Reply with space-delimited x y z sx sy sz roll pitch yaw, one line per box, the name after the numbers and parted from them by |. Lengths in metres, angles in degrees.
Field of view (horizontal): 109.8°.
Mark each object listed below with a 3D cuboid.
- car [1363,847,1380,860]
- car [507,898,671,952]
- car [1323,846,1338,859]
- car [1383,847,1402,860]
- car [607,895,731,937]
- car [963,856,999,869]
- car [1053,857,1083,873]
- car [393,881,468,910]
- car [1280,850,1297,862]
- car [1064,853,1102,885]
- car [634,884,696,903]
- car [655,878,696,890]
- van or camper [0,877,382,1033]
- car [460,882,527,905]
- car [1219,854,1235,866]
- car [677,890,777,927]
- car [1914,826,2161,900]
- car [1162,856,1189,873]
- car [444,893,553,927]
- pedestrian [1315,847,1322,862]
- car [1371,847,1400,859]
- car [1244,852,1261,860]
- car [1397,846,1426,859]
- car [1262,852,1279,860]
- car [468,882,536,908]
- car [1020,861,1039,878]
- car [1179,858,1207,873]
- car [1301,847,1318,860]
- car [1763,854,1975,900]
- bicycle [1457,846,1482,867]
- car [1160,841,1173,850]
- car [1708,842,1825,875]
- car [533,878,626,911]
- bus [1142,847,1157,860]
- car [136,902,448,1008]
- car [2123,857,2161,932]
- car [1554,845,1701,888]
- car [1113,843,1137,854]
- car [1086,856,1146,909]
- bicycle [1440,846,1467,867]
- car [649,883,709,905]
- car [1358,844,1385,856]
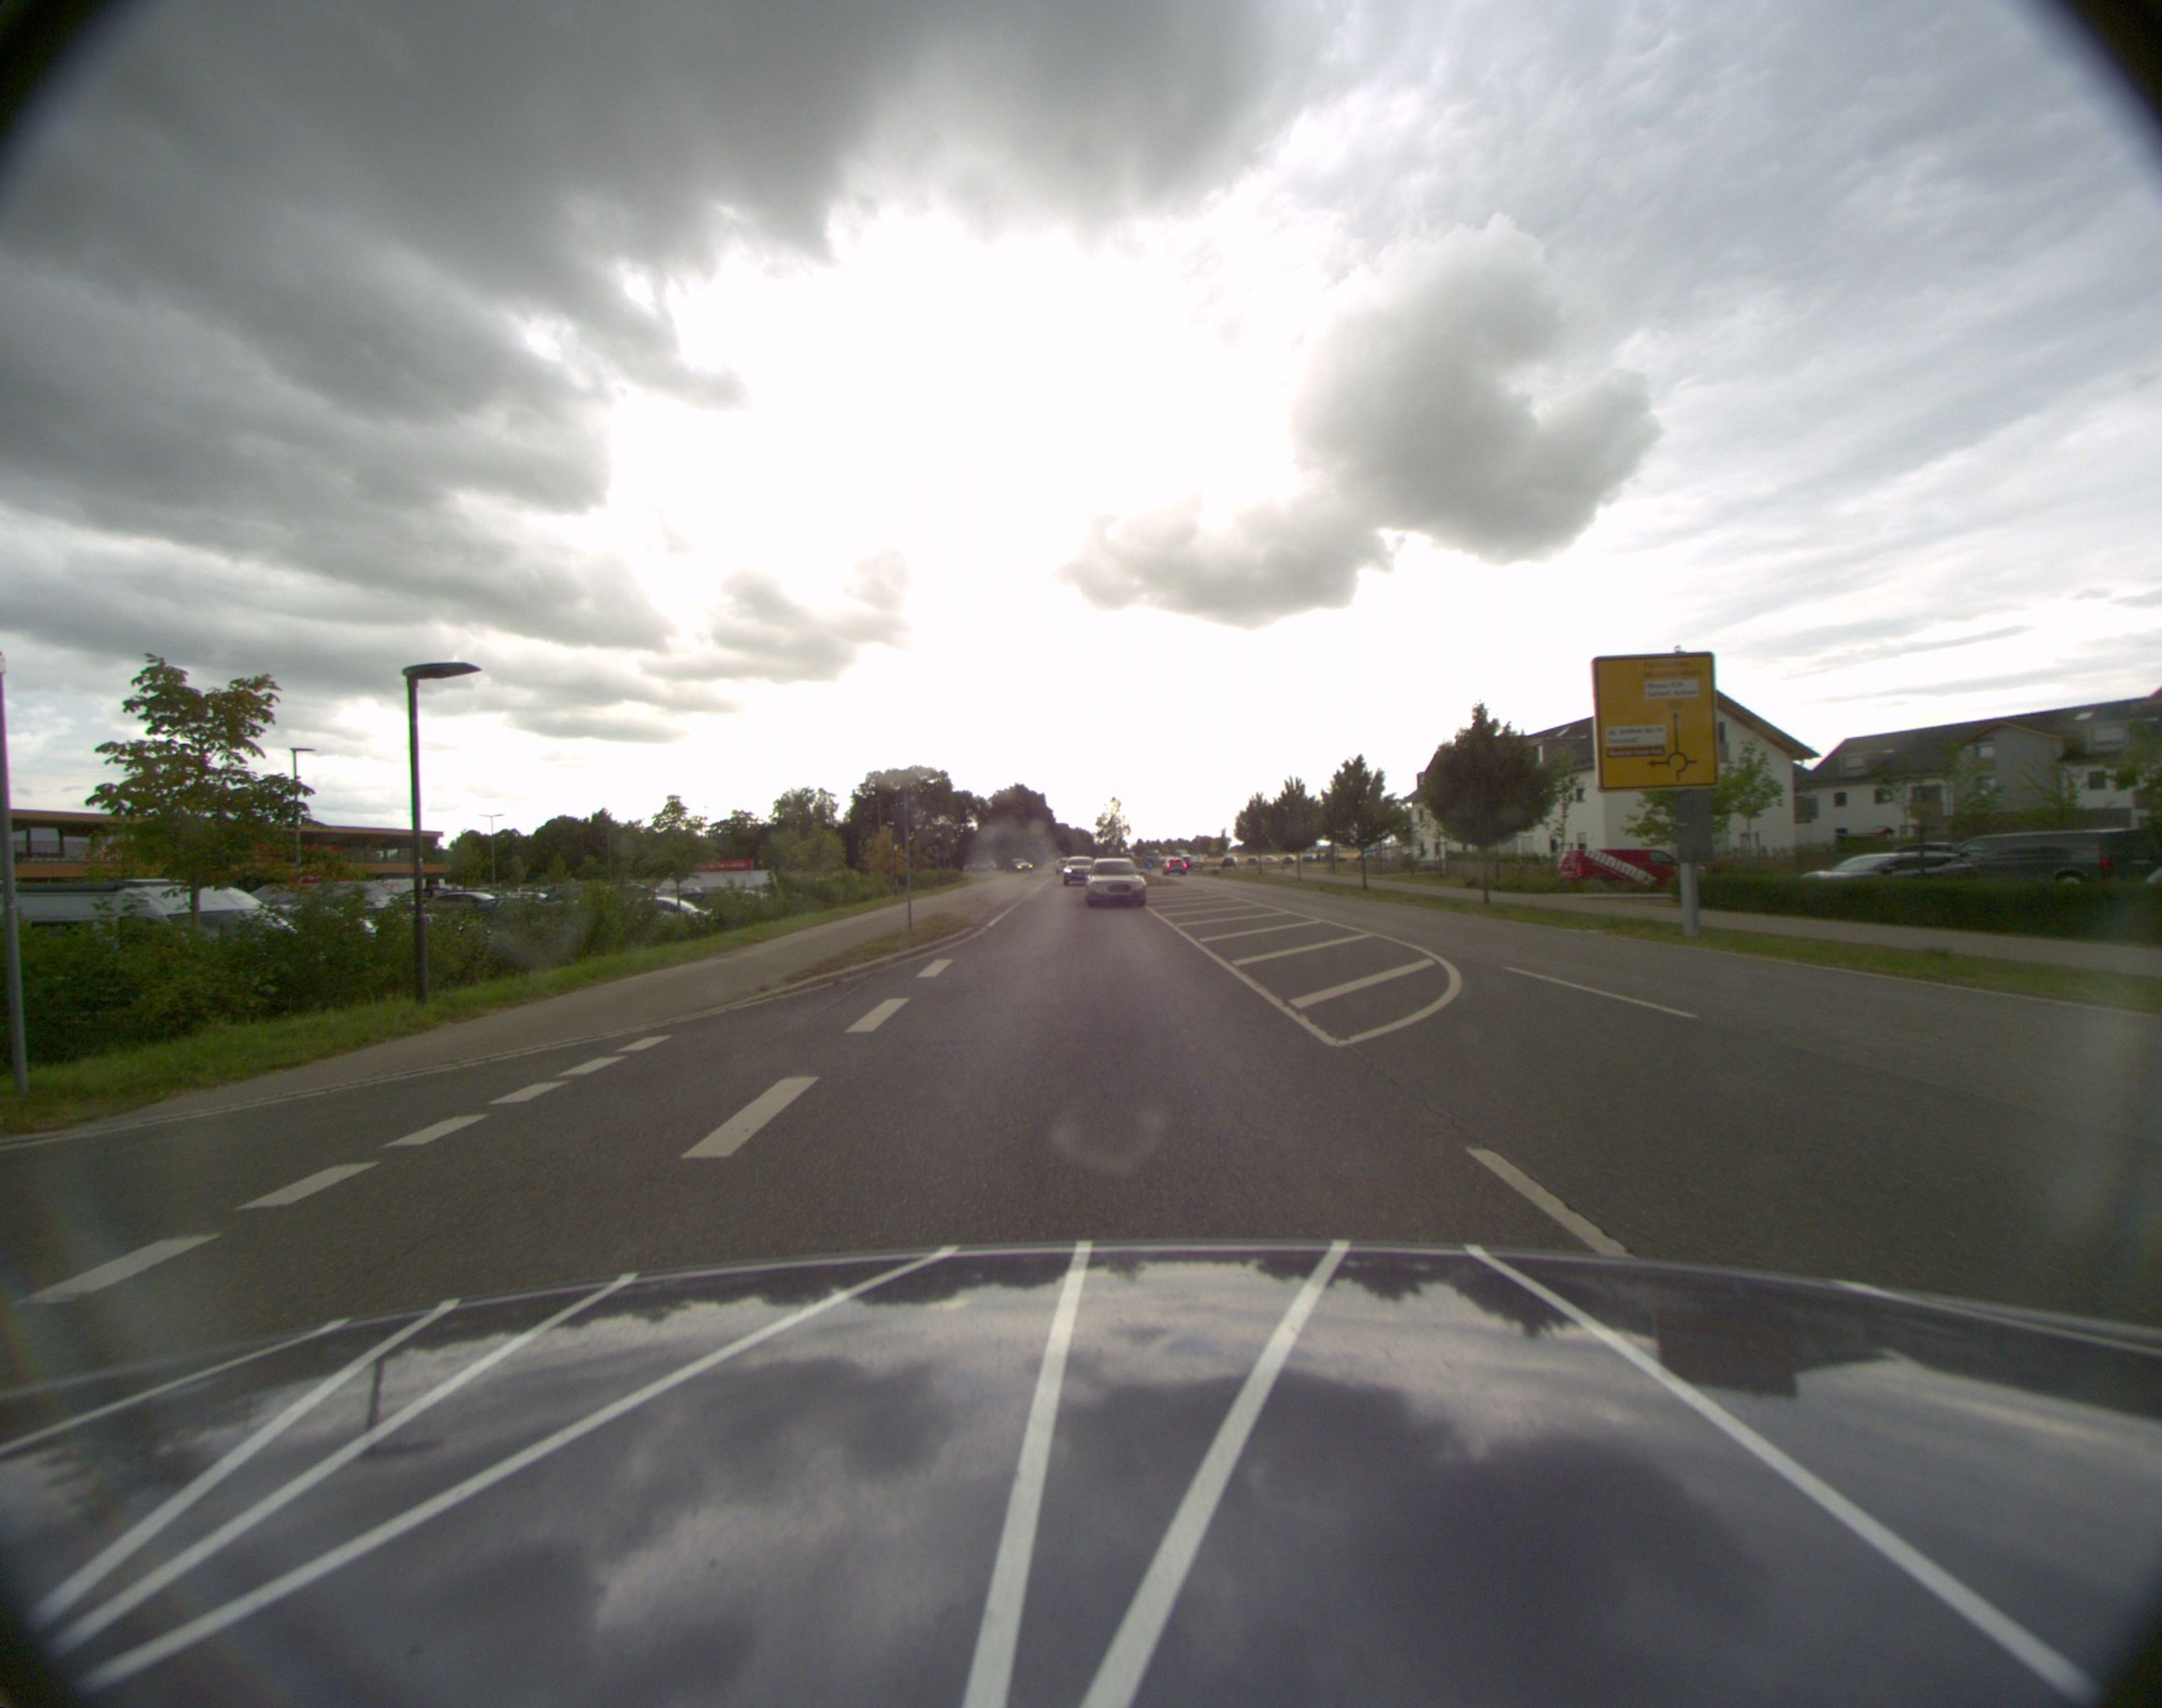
45.599 -0.034 119.093 1.995 2.002 4.008 0 0 28 | car
-16.510 2.372 25.688 4.158 1.588 2.080 0 0 -2 | car
39.080 -0.154 119.099 1.996 2.002 4.005 0 0 15 | car
48.160 -0.059 117.425 2.226 2.002 4.008 0 0 28 | car
-16.883 2.528 31.267 4.158 1.529 1.676 0 0 -2 | car
-13.751 1.167 104.261 4.775 1.793 1.997 0 0 -15 | car
-1.346 1.088 76.777 2.001 1.510 3.765 0 0 -17 | car
-48.593 3.094 56.797 3.995 2.002 2.001 0 0 4 | car
33.517 0.329 122.430 1.995 2.002 4.007 0 0 24 | car
0.180 0.780 41.746 1.870 1.578 5.063 -2 0 2 | car
-35.071 3.324 64.054 4.127 1.476 2.001 0 0 4 | car
-47.564 3.502 89.263 1.697 1.352 4.007 0 0 27 | car
-16.800 1.681 13.481 6.484 2.450 2.281 0 0 -3 | van or camper
-48.925 3.295 63.319 3.995 1.837 2.072 0 0 4 | car
17.502 0.690 91.263 1.773 1.435 4.003 0 0 9 | car
-16.113 2.479 34.679 3.766 1.529 1.676 0 0 -2 | car
30.950 0.271 24.728 1.998 2.002 5.201 -5 0 3 | car
7.947 0.867 64.229 1.775 1.435 4.000 0 0 0 | car
-29.996 2.859 39.199 3.997 1.433 2.000 -2 0 -1 | car
25.710 0.062 82.199 0.547 1.521 0.586 -3 0 0 | pedestrian
50.960 -0.165 127.119 4.000 2.002 1.998 0 0 -9 | car
28.158 0.376 124.836 1.995 1.280 4.007 0 0 24 | car
53.535 -0.201 123.045 4.001 2.002 1.998 0 0 -13 | car
30.822 0.352 123.370 1.995 1.280 4.007 0 0 24 | car
-47.021 3.293 61.719 3.995 2.002 2.072 0 0 4 | car
-5.988 1.781 87.839 2.000 1.827 3.997 0 0 -7 | car
11.938 1.198 80.939 1.827 1.573 4.223 0 0 24 | car
36.286 -0.122 120.621 1.995 2.002 4.007 0 0 24 | car
25.661 0.732 24.878 4.917 1.421 1.906 0 0 1 | car
26.460 0.182 51.779 0.684 1.409 2.094 0 0 0 | bicycle
14.687 -1.488 130.077 1.775 1.435 4.000 0 0 0 | car
32.825 0.218 36.546 1.998 1.499 4.000 0 0 0 | car
-29.792 2.381 45.255 4.269 1.860 2.001 0 0 4 | car
17.458 -0.118 192.865 2.992 3.261 6.483 0 0 -2 | bus
-16.959 2.129 16.547 4.605 2.002 2.000 0 0 -2 | car
23.368 0.800 14.982 3.523 1.480 1.563 0 0 0 | car
23.759 0.554 33.171 4.916 1.805 1.907 0 0 5 | car
6.943 -0.807 119.552 1.994 1.674 4.008 0 0 37 | car
1.105 0.846 23.957 1.700 1.457 4.000 -1 1 3 | car
25.494 0.175 52.006 0.684 1.404 2.343 0 0 0 | bicycle
-30.124 2.994 57.028 3.558 1.524 1.753 0 0 -2 | car
51.517 -0.704 134.612 4.001 2.002 1.998 0 0 -13 | car
